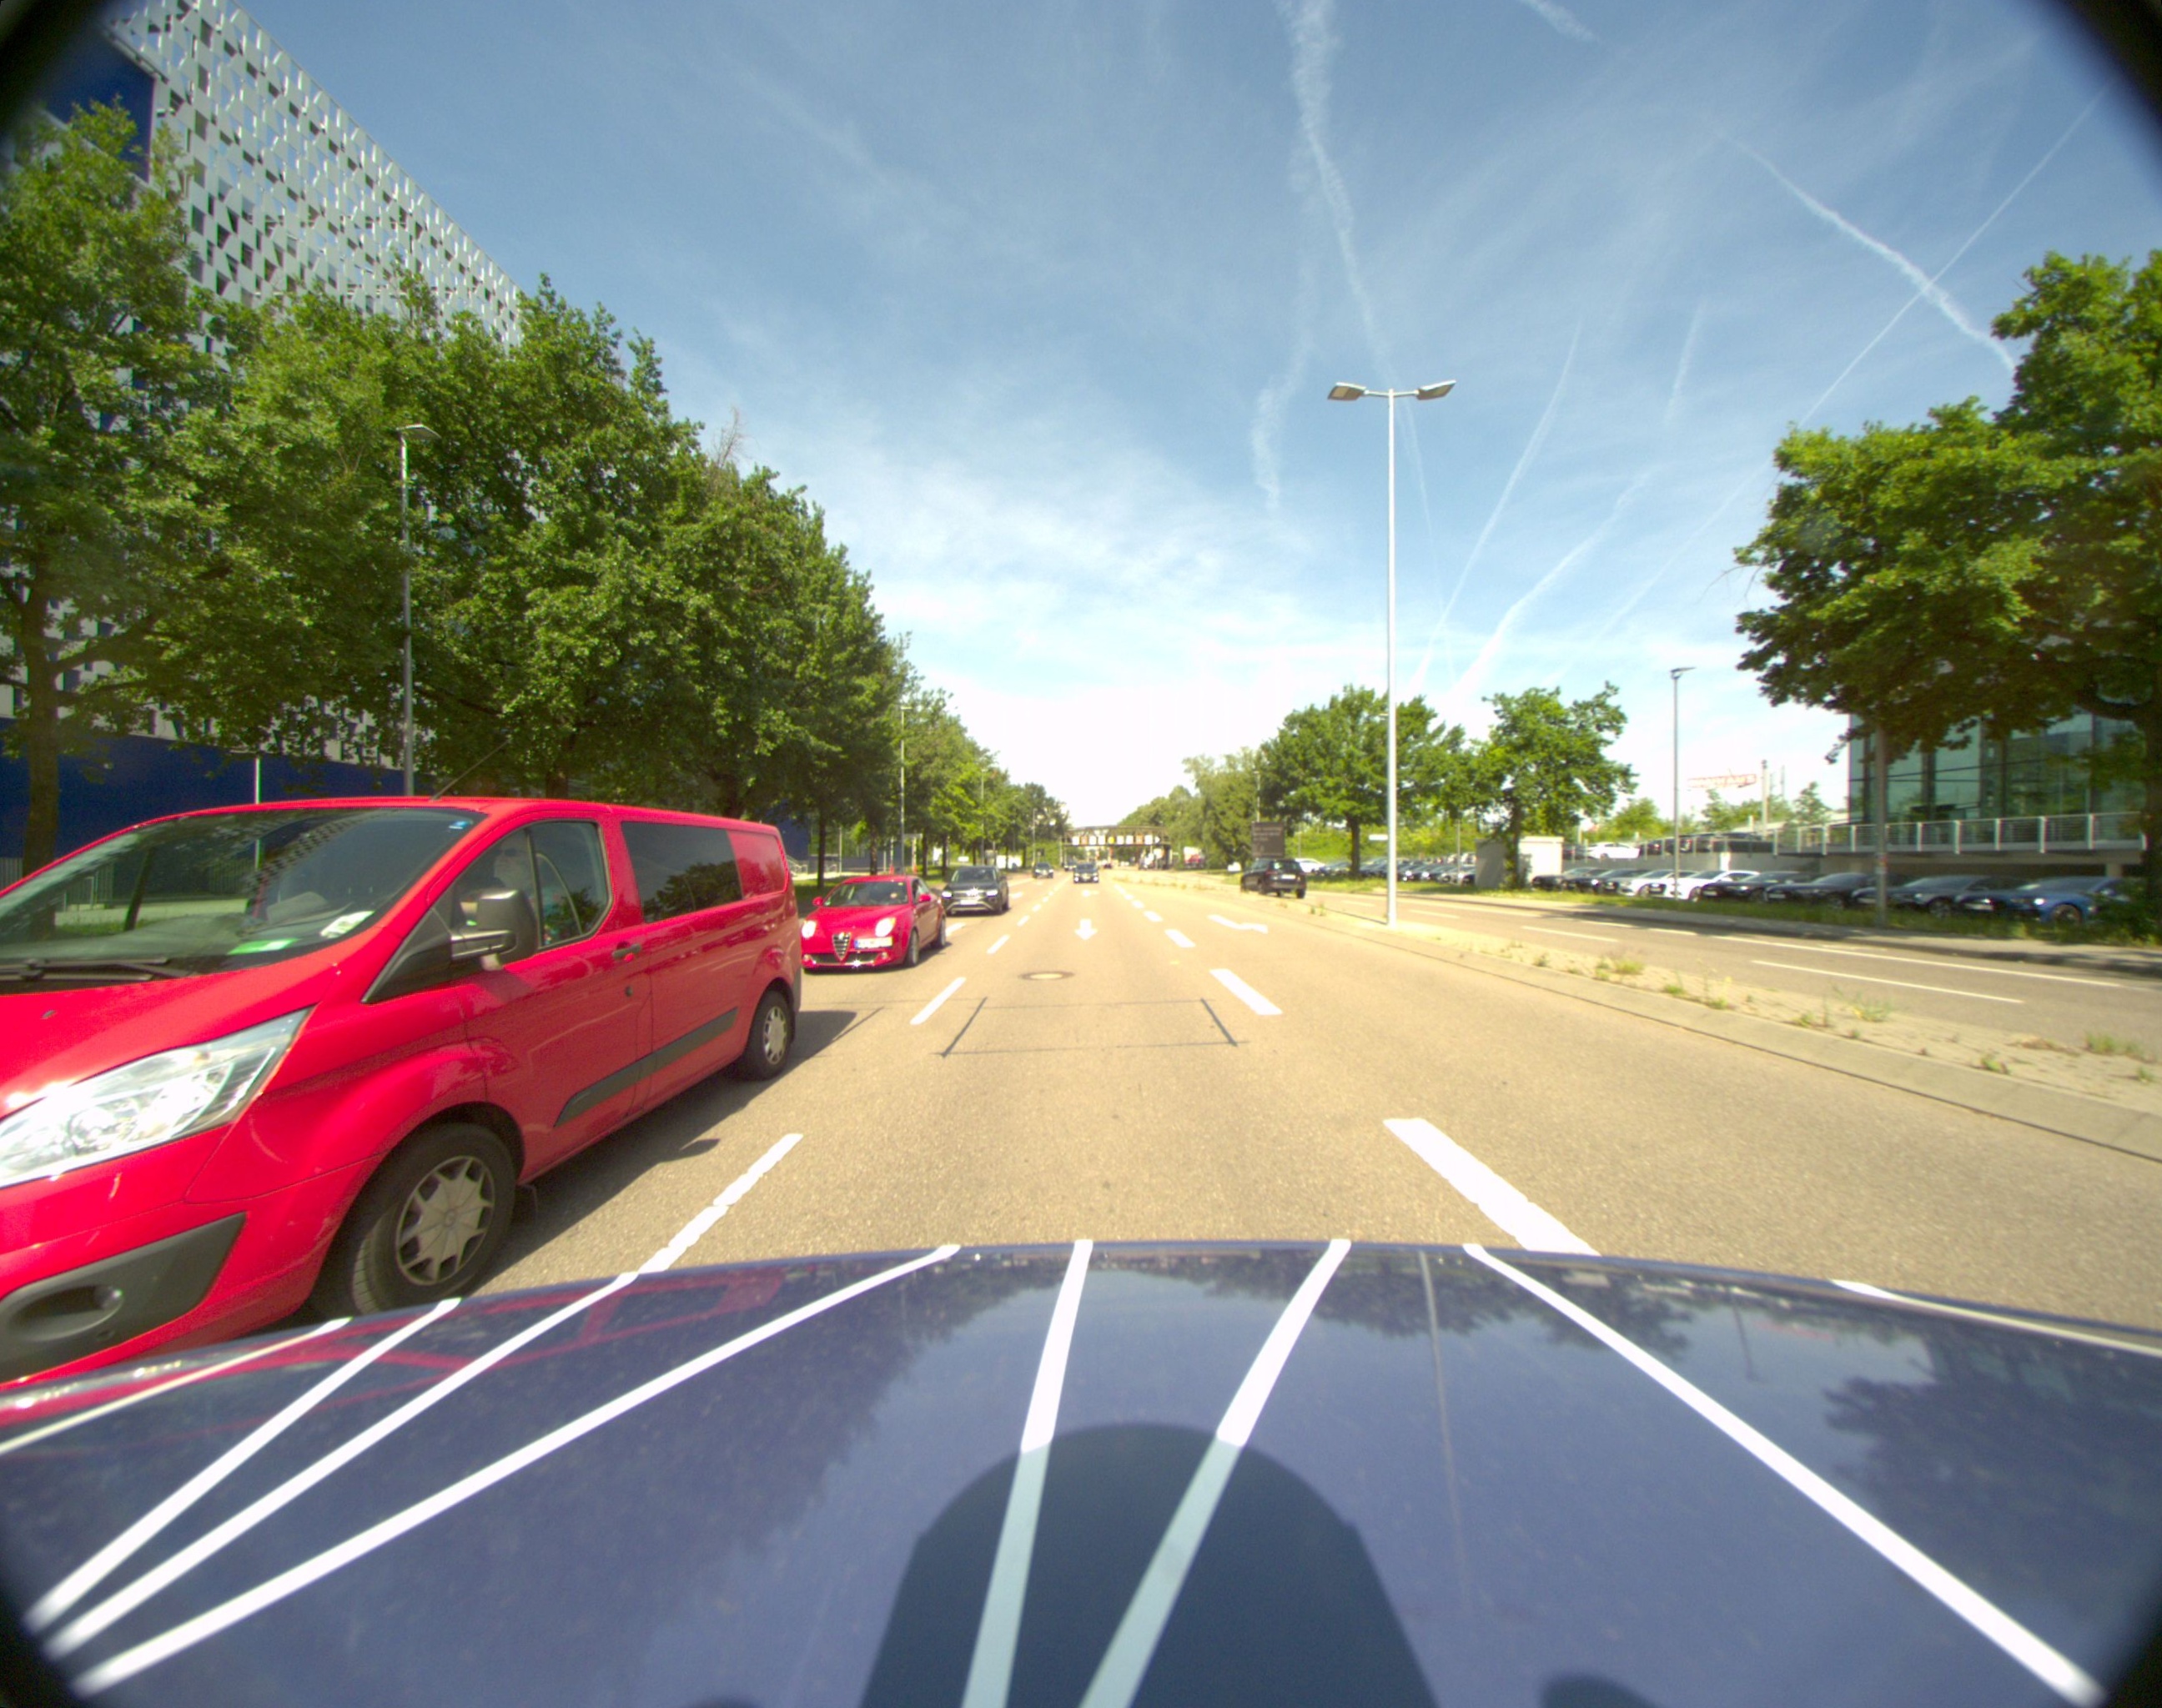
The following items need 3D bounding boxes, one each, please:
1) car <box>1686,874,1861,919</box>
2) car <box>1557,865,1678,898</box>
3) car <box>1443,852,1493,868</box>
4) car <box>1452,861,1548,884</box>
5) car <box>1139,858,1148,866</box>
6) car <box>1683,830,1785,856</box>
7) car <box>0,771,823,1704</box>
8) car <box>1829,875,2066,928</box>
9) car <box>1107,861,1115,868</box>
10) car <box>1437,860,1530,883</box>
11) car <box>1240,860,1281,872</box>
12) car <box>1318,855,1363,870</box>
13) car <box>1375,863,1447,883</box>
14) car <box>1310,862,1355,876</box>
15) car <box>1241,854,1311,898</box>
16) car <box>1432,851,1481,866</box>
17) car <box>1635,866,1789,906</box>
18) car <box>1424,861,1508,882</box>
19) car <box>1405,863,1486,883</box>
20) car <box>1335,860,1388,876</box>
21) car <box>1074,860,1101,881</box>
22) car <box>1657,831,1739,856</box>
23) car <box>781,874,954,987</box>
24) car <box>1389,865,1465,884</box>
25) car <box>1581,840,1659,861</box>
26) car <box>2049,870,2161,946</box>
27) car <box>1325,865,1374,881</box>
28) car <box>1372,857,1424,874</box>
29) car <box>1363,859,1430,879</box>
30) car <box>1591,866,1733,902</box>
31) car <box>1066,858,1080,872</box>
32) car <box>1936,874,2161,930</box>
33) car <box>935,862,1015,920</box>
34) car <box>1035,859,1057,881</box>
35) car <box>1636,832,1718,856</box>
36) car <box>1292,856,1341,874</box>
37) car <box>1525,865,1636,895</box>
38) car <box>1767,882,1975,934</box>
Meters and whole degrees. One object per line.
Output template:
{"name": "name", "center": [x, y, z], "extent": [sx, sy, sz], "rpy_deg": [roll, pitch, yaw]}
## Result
{"name": "car", "center": [23.511, 1.423, 25.916], "extent": [4.185, 1.183, 1.955], "rpy_deg": [3, 0, -1]}
{"name": "car", "center": [23.600, 1.200, 33.532], "extent": [3.998, 1.149, 1.897], "rpy_deg": [3, 0, -1]}
{"name": "car", "center": [39.809, 0.620, 78.205], "extent": [4.214, 1.468, 2.000], "rpy_deg": [-1, 0, -3]}
{"name": "car", "center": [24.139, 1.056, 43.871], "extent": [4.511, 1.282, 1.919], "rpy_deg": [0, 0, -1]}
{"name": "car", "center": [13.780, 1.721, 167.724], "extent": [1.998, 1.608, 4.105], "rpy_deg": [2, 0, 5]}
{"name": "car", "center": [39.991, -0.656, 46.611], "extent": [4.531, 1.487, 1.986], "rpy_deg": [-1, 0, 0]}
{"name": "car", "center": [-3.254, 0.833, 3.996], "extent": [1.972, 1.956, 5.125], "rpy_deg": [-1, 0, 0]}
{"name": "car", "center": [23.269, 1.250, 20.530], "extent": [4.185, 1.071, 1.955], "rpy_deg": [3, 0, -1]}
{"name": "car", "center": [6.657, 2.284, 169.851], "extent": [1.785, 1.438, 4.120], "rpy_deg": [1, 0, 1]}
{"name": "car", "center": [24.225, 1.048, 45.836], "extent": [4.511, 1.282, 2.004], "rpy_deg": [0, 0, -1]}
{"name": "car", "center": [22.621, 1.469, 96.093], "extent": [4.698, 1.381, 2.000], "rpy_deg": [-1, 0, 0]}
{"name": "car", "center": [24.472, 0.823, 71.647], "extent": [3.603, 1.277, 1.744], "rpy_deg": [2, 0, -1]}
{"name": "car", "center": [24.328, 1.395, 56.067], "extent": [4.511, 1.467, 1.919], "rpy_deg": [0, 0, -1]}
{"name": "car", "center": [24.595, 1.496, 74.260], "extent": [3.801, 1.277, 1.744], "rpy_deg": [-1, 0, -1]}
{"name": "car", "center": [7.918, 0.861, 31.244], "extent": [1.742, 1.609, 4.209], "rpy_deg": [3, 0, 0]}
{"name": "car", "center": [39.745, 0.455, 80.557], "extent": [4.214, 1.468, 2.000], "rpy_deg": [-1, 0, -3]}
{"name": "car", "center": [23.664, 1.178, 28.601], "extent": [4.185, 1.183, 1.955], "rpy_deg": [3, 0, -1]}
{"name": "car", "center": [24.366, 1.106, 48.203], "extent": [4.511, 1.282, 1.691], "rpy_deg": [0, 0, -1]}
{"name": "car", "center": [24.307, 1.262, 50.813], "extent": [4.511, 1.282, 1.919], "rpy_deg": [0, 0, -1]}
{"name": "car", "center": [24.569, 1.215, 66.633], "extent": [3.897, 1.332, 1.840], "rpy_deg": [2, 0, -1]}
{"name": "car", "center": [0.449, 1.207, 56.092], "extent": [1.888, 1.427, 4.000], "rpy_deg": [-1, 0, 0]}
{"name": "car", "center": [39.985, -0.674, 49.297], "extent": [3.997, 1.487, 1.668], "rpy_deg": [-1, 0, 0]}
{"name": "car", "center": [-3.358, 1.134, 12.754], "extent": [1.798, 1.446, 3.978], "rpy_deg": [-1, 0, -1]}
{"name": "car", "center": [24.333, 1.455, 53.580], "extent": [4.511, 1.282, 1.919], "rpy_deg": [0, 0, -1]}
{"name": "car", "center": [40.563, -0.252, 57.233], "extent": [4.511, 1.476, 1.979], "rpy_deg": [0, 0, -1]}
{"name": "car", "center": [23.079, 1.198, 15.485], "extent": [3.997, 1.433, 2.000], "rpy_deg": [4, 0, 1]}
{"name": "car", "center": [24.365, 1.744, 69.018], "extent": [3.752, 1.277, 1.663], "rpy_deg": [2, 0, -1]}
{"name": "car", "center": [26.842, 0.941, 64.358], "extent": [3.603, 1.277, 1.865], "rpy_deg": [2, 0, -1]}
{"name": "car", "center": [24.938, 1.181, 60.204], "extent": [4.511, 1.467, 1.979], "rpy_deg": [0, 0, -1]}
{"name": "car", "center": [23.714, 1.193, 31.127], "extent": [4.185, 1.149, 2.087], "rpy_deg": [3, 0, -1]}
{"name": "car", "center": [-1.184, 1.695, 113.802], "extent": [1.998, 2.002, 4.000], "rpy_deg": [-1, 0, 0]}
{"name": "car", "center": [23.200, 1.136, 17.945], "extent": [4.119, 1.028, 1.697], "rpy_deg": [3, 0, -1]}
{"name": "car", "center": [-3.254, 1.099, 24.104], "extent": [1.824, 1.632, 4.113], "rpy_deg": [-1, 0, 1]}
{"name": "car", "center": [-3.428, 1.562, 75.390], "extent": [1.998, 2.002, 4.000], "rpy_deg": [-1, 0, 0]}
{"name": "car", "center": [40.706, -0.654, 51.962], "extent": [3.997, 1.487, 2.052], "rpy_deg": [-1, 0, 0]}
{"name": "car", "center": [24.752, 1.149, 79.997], "extent": [4.474, 1.864, 2.000], "rpy_deg": [-1, 0, 2]}
{"name": "car", "center": [23.672, 1.234, 36.088], "extent": [3.998, 1.149, 1.897], "rpy_deg": [3, 0, -1]}
{"name": "car", "center": [23.401, 1.572, 22.636], "extent": [4.185, 1.183, 1.955], "rpy_deg": [3, 0, -1]}
